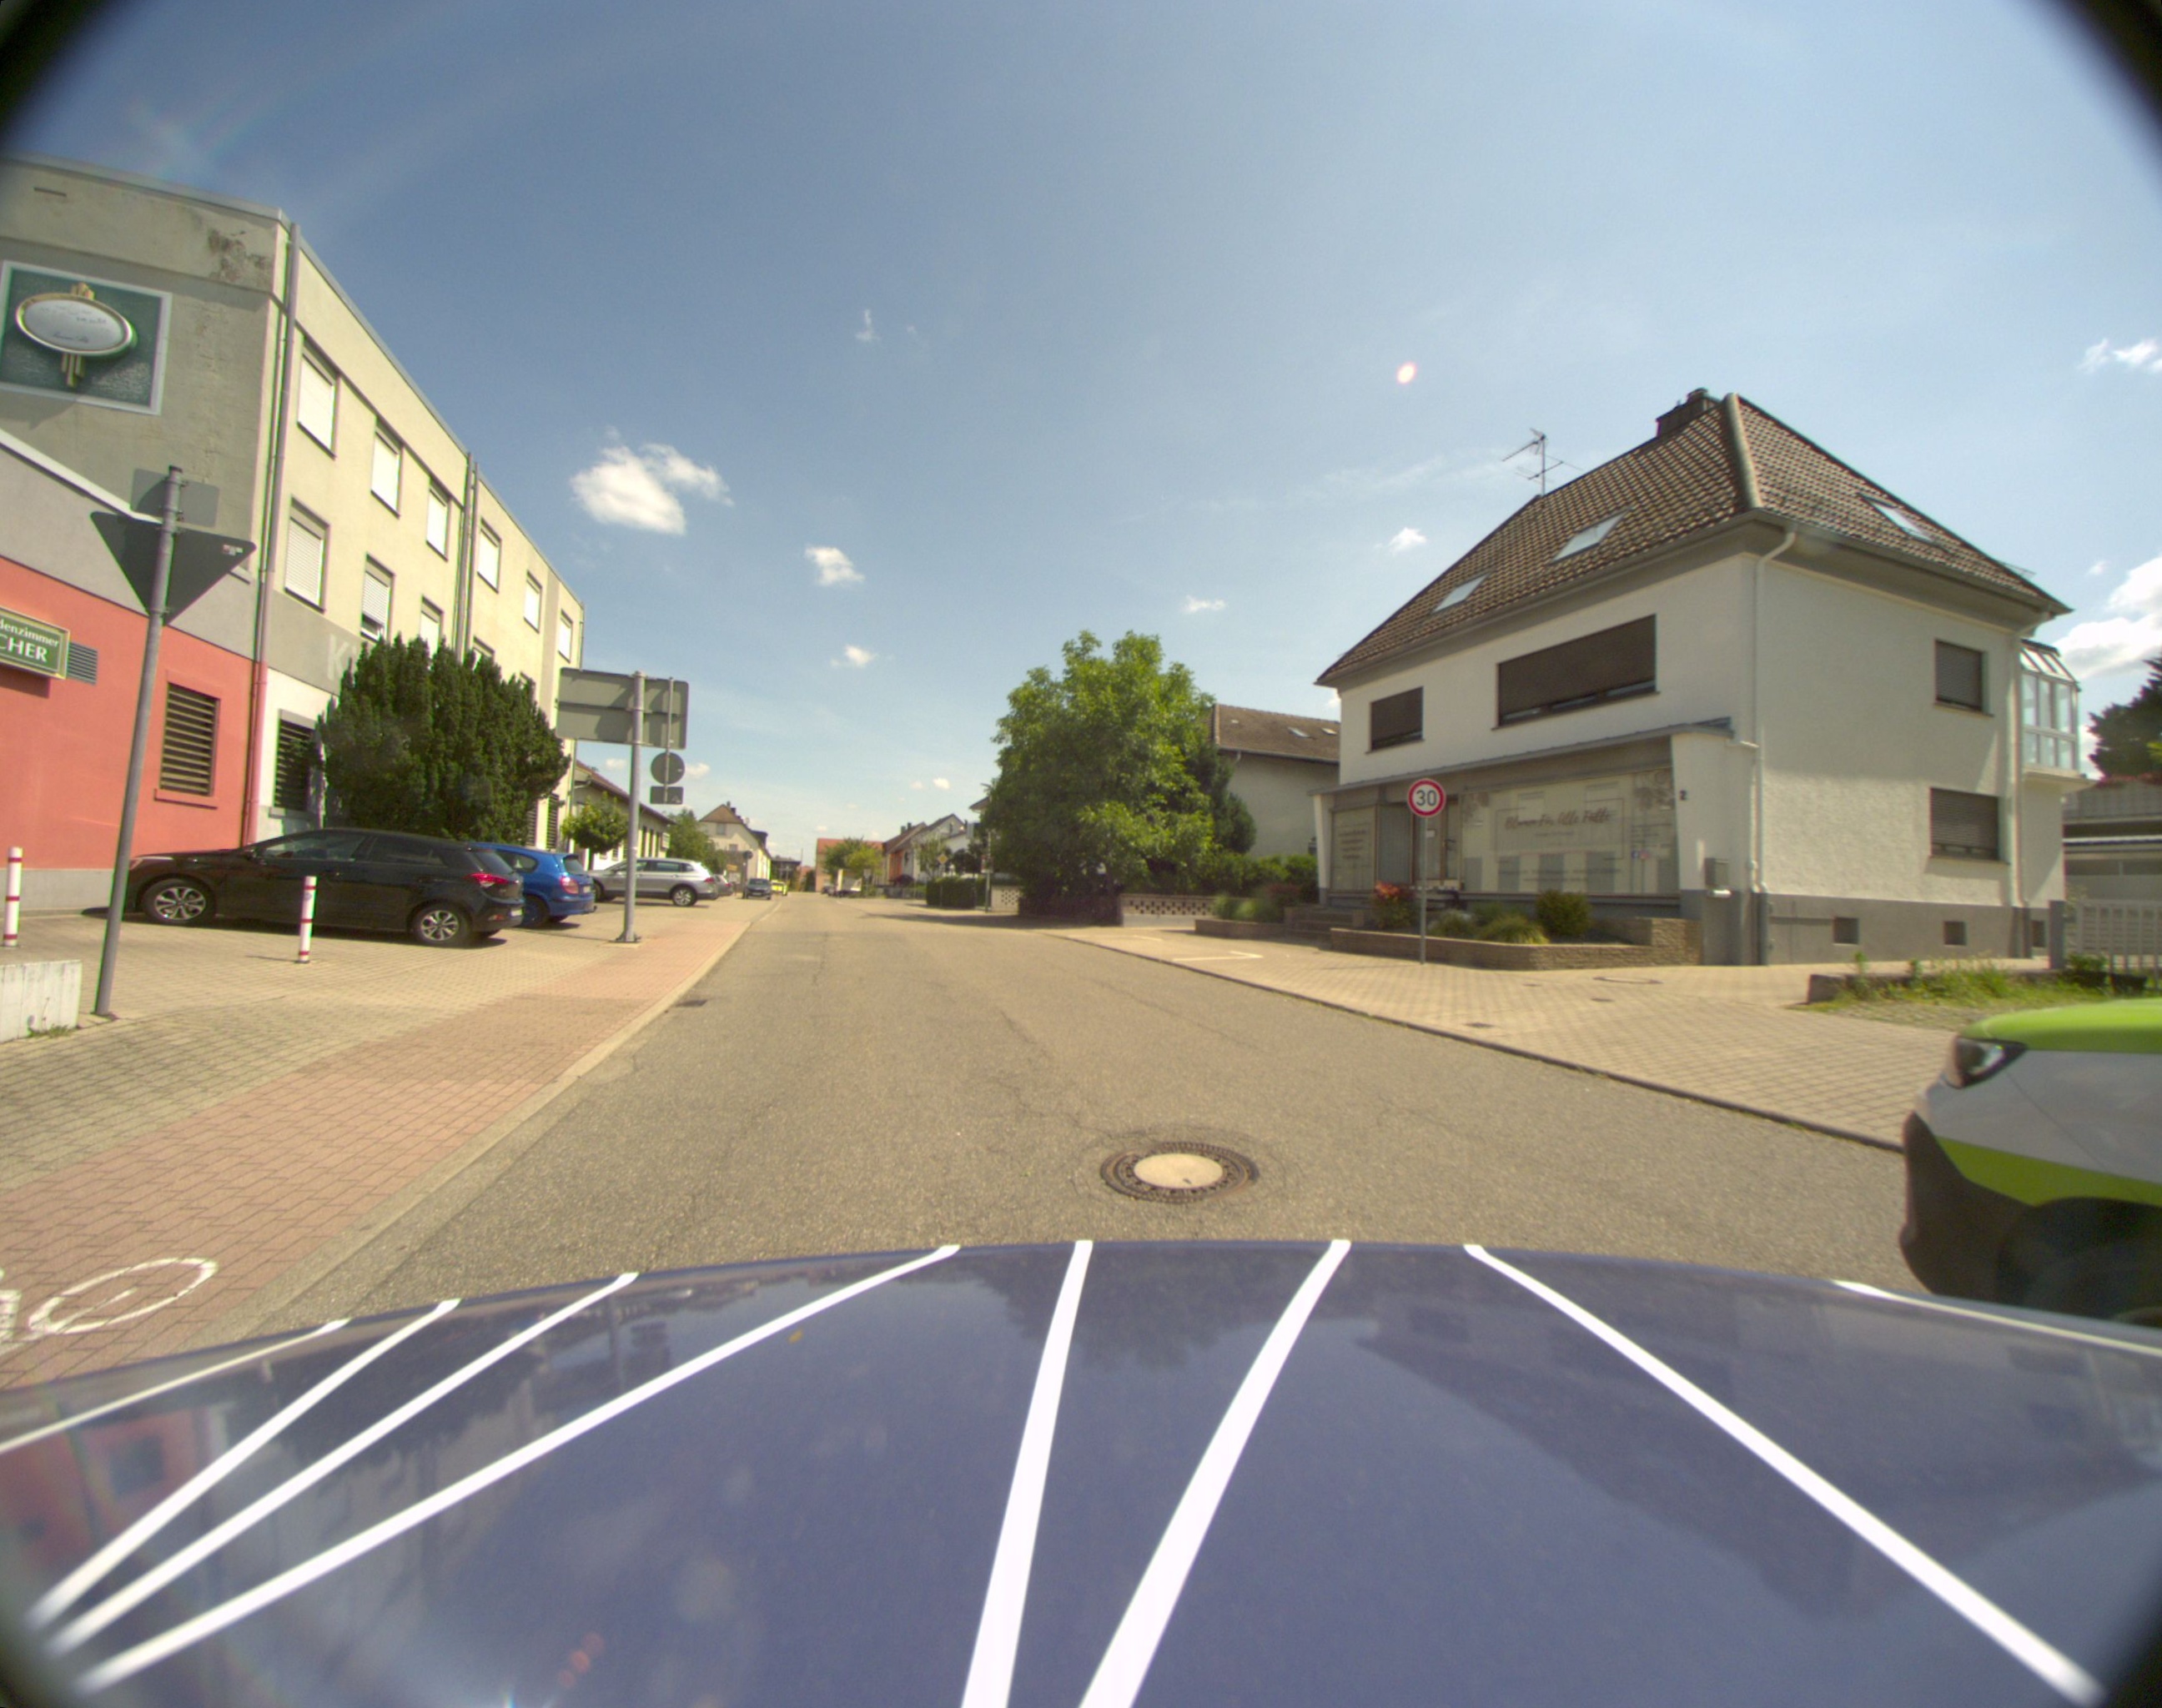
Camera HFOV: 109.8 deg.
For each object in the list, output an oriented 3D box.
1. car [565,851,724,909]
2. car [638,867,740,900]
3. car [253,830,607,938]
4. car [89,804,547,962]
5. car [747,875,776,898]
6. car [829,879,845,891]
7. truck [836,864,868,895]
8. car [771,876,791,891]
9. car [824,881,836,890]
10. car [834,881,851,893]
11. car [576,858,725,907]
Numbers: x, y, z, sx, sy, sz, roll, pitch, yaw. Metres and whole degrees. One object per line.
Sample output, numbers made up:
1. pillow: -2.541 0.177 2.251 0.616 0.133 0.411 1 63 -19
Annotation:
1. car: -15.001 0.939 26.426 4.474 1.686 1.920 5 -4 -22
2. car: -20.890 1.620 40.744 4.547 1.445 1.915 5 -4 -20
3. car: -11.230 0.543 13.557 4.343 1.431 1.776 6 -1 -21
4. car: -10.068 0.448 10.510 3.914 1.480 1.806 10 -4 -22
5. car: -21.821 2.215 52.000 1.635 1.479 4.133 4 -3 -22
6. car: -34.016 4.363 105.898 1.724 1.490 4.209 5 -4 -21
7. truck: -26.354 2.991 87.297 2.449 3.225 7.025 7 -4 -22
8. car: -31.608 3.100 80.092 1.724 1.389 4.209 7 -5 -20
9. car: -44.439 5.596 134.530 1.724 1.490 4.209 5 -4 -21
10. car: -31.481 4.339 100.142 1.724 1.490 4.209 5 -4 -21
11. car: -15.959 1.091 28.488 4.521 1.510 1.997 5 -4 -21
